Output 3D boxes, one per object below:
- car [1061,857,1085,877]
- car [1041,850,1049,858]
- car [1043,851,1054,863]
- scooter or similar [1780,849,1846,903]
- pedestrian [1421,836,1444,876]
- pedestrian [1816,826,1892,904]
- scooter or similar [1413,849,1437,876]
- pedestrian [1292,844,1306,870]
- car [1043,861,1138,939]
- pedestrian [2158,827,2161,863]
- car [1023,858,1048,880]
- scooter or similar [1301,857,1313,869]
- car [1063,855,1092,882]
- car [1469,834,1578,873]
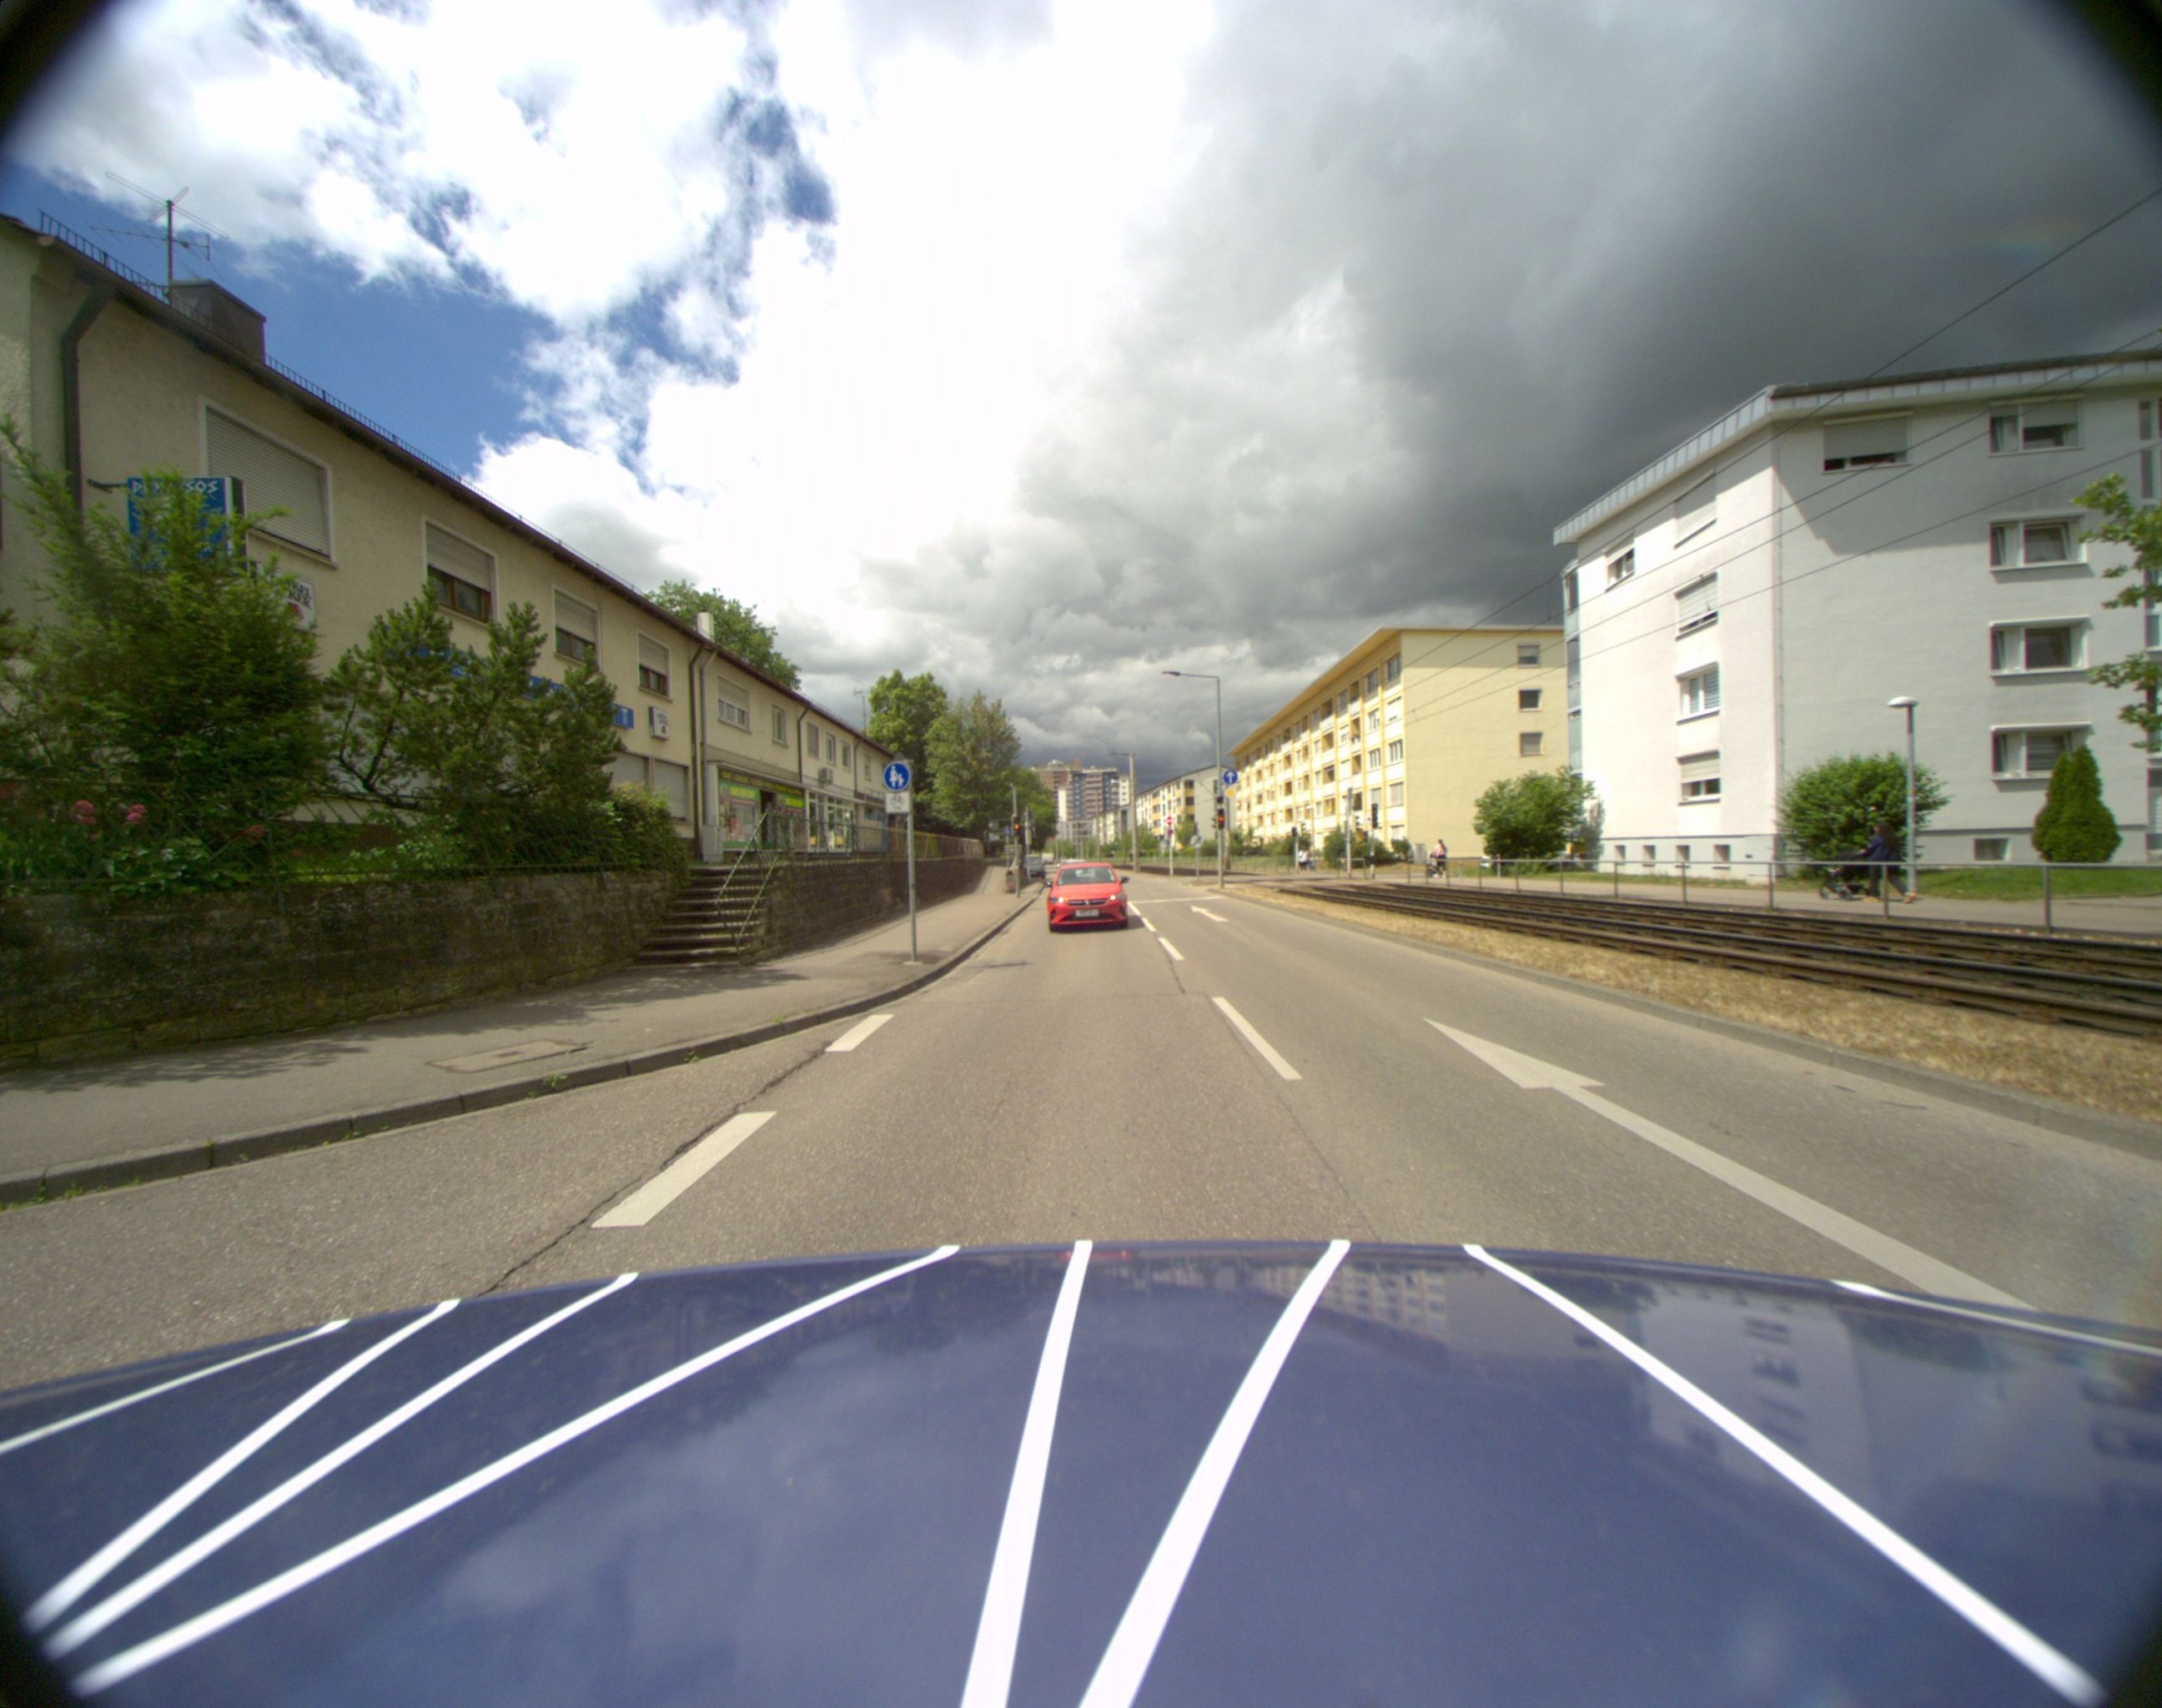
[{"bbox_3d":[-0.631,0.941,58.484,1.639,1.346,3.999,-4,0,-2],"label":"car"},{"bbox_3d":[-10.148,0.014,213.792,2.237,2.050,4.360,-1,0,-4],"label":"car"},{"bbox_3d":[-6.883,0.615,162.092,2.237,2.460,5.085,-1,0,-4],"label":"car"},{"bbox_3d":[15.800,0.460,16.425,0.606,1.108,0.821,-3,1,-2],"label":"scooter or similar"},{"bbox_3d":[15.298,0.097,33.066,0.647,1.683,0.679,-3,1,0],"label":"pedestrian"},{"bbox_3d":[15.813,0.215,15.565,0.614,1.531,0.874,-3,1,-2],"label":"pedestrian"},{"bbox_3d":[15.326,0.355,33.862,0.609,1.156,0.891,-2,1,0],"label":"scooter or similar"},{"bbox_3d":[13.927,0.190,48.606,0.605,1.598,0.773,-3,1,-1],"label":"pedestrian"},{"bbox_3d":[0.095,0.964,17.613,1.784,1.434,4.129,-4,0,-4],"label":"car"},{"bbox_3d":[27.131,-0.223,18.876,0.330,0.878,0.256,-4,5,11],"label":"pedestrian"},{"bbox_3d":[-3.435,1.090,56.941,1.760,1.570,4.020,-1,0,-4],"label":"car"},{"bbox_3d":[14.422,0.578,48.484,0.534,0.769,0.666,-3,1,-1],"label":"scooter or similar"},{"bbox_3d":[-0.254,0.846,45.870,1.499,1.477,3.519,-2,0,-4],"label":"car"},{"bbox_3d":[21.944,-0.035,37.837,4.286,1.719,1.810,-2,1,6],"label":"car"}]
